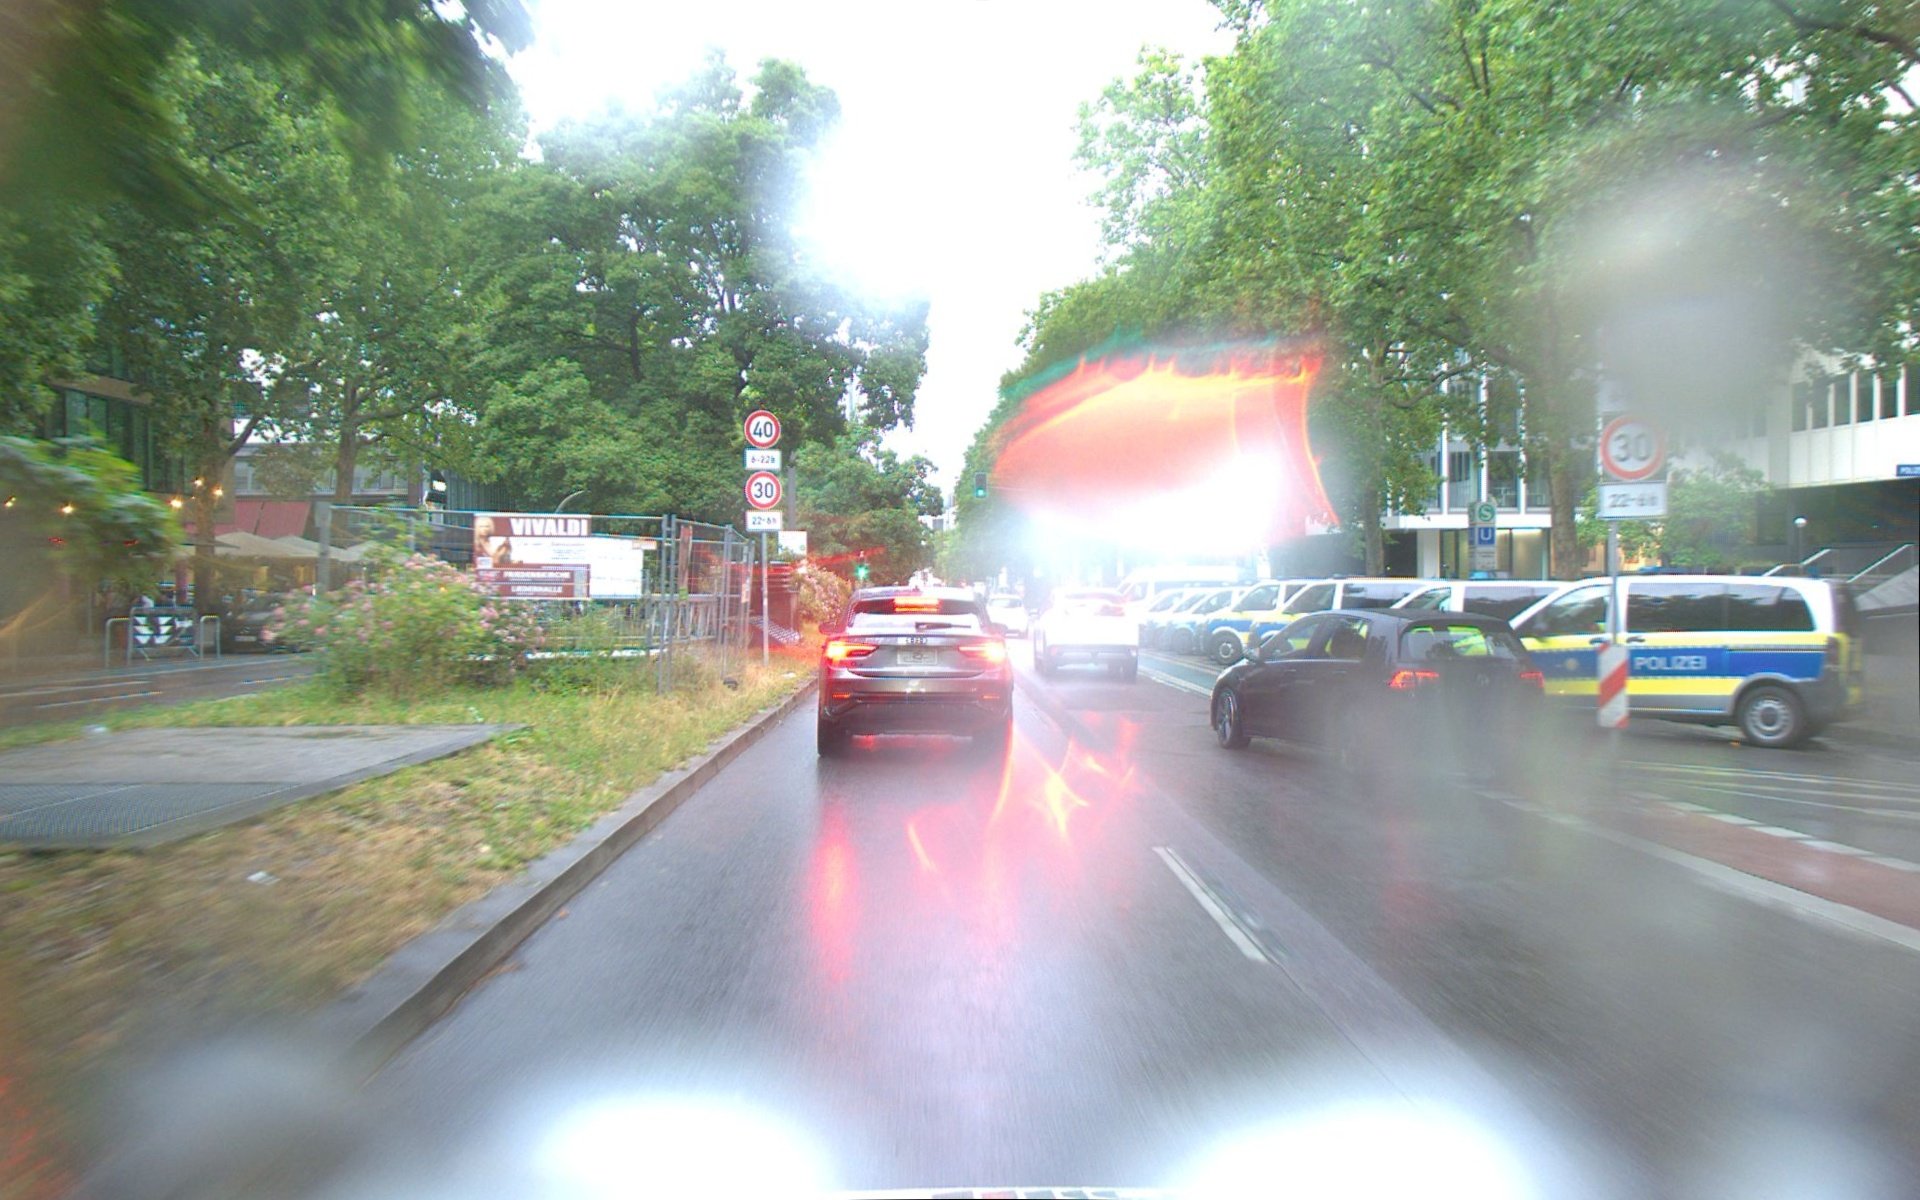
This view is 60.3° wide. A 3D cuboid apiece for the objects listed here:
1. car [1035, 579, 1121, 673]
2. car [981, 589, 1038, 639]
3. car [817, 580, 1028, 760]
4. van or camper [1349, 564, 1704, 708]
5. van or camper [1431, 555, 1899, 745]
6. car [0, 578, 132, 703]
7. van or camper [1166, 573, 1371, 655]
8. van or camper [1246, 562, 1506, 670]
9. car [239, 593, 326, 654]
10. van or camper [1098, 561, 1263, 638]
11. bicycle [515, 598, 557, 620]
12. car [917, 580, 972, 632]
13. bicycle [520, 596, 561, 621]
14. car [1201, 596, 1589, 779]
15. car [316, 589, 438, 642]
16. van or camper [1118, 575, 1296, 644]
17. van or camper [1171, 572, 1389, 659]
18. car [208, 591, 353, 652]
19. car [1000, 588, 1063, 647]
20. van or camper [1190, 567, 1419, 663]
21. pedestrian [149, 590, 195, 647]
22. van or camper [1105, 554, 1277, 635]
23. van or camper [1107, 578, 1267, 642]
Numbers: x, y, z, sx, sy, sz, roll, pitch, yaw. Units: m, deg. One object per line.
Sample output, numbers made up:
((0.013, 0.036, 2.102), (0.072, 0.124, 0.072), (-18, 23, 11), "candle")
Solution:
((2.235, 0.458, 31.890), (1.404, 1.714, 2.978), (0, 0, -1), "car")
((1.803, 0.478, 61.619), (1.953, 1.780, 3.999), (0, 0, -1), "car")
((-0.320, 0.592, 16.629), (1.825, 1.559, 4.526), (0, 0, 0), "car")
((8.958, 0.500, 26.336), (4.986, 2.054, 1.990), (2, 0, 36), "van or camper")
((8.381, 0.506, 19.876), (4.850, 2.027, 1.994), (1, 0, 37), "van or camper")
((-13.413, 0.509, 23.856), (1.690, 1.654, 4.425), (1, 0, -14), "car")
((8.203, 0.333, 44.244), (5.007, 2.060, 2.098), (0, 0, 37), "van or camper")
((8.355, 0.291, 33.386), (4.757, 2.033, 1.861), (0, 0, 36), "van or camper")
((-16.613, 0.551, 40.648), (1.029, 1.412, 2.693), (0, 0, -1), "car")
((8.081, -0.032, 60.874), (5.700, 2.724, 2.139), (0, 0, 37), "van or camper")
((-19.439, 0.424, 75.819), (1.808, 0.996, 0.565), (0, 0, -4), "bicycle")
((-0.533, 0.161, 52.927), (1.687, 1.605, 3.960), (0, 0, -1), "car")
((-19.506, 0.390, 76.970), (1.810, 1.117, 0.613), (0, 0, -9), "bicycle")
((3.873, 0.701, 15.474), (1.736, 1.437, 3.982), (-1, 0, -16), "car")
((-16.793, 0.419, 47.910), (1.953, 1.394, 4.539), (2, 0, -1), "car")
((7.616, 0.279, 51.226), (5.101, 2.027, 1.994), (1, -1, 34), "van or camper")
((7.848, 0.355, 40.758), (4.916, 2.030, 1.995), (0, 0, 32), "van or camper")
((-16.726, 0.503, 40.937), (1.788, 1.419, 4.483), (0, 0, -1), "car")
((2.242, 0.519, 52.740), (1.785, 1.780, 3.999), (0, 0, -1), "car")
((7.761, 0.303, 37.417), (4.697, 2.046, 1.993), (0, 0, 35), "van or camper")
((-19.707, 0.450, 41.380), (0.748, 1.404, 0.932), (0, 0, -4), "pedestrian")
((8.003, -0.189, 57.648), (5.692, 2.727, 1.994), (0, 0, 35), "van or camper")
((7.494, 0.341, 54.810), (4.914, 2.049, 1.993), (0, -1, 35), "van or camper")
